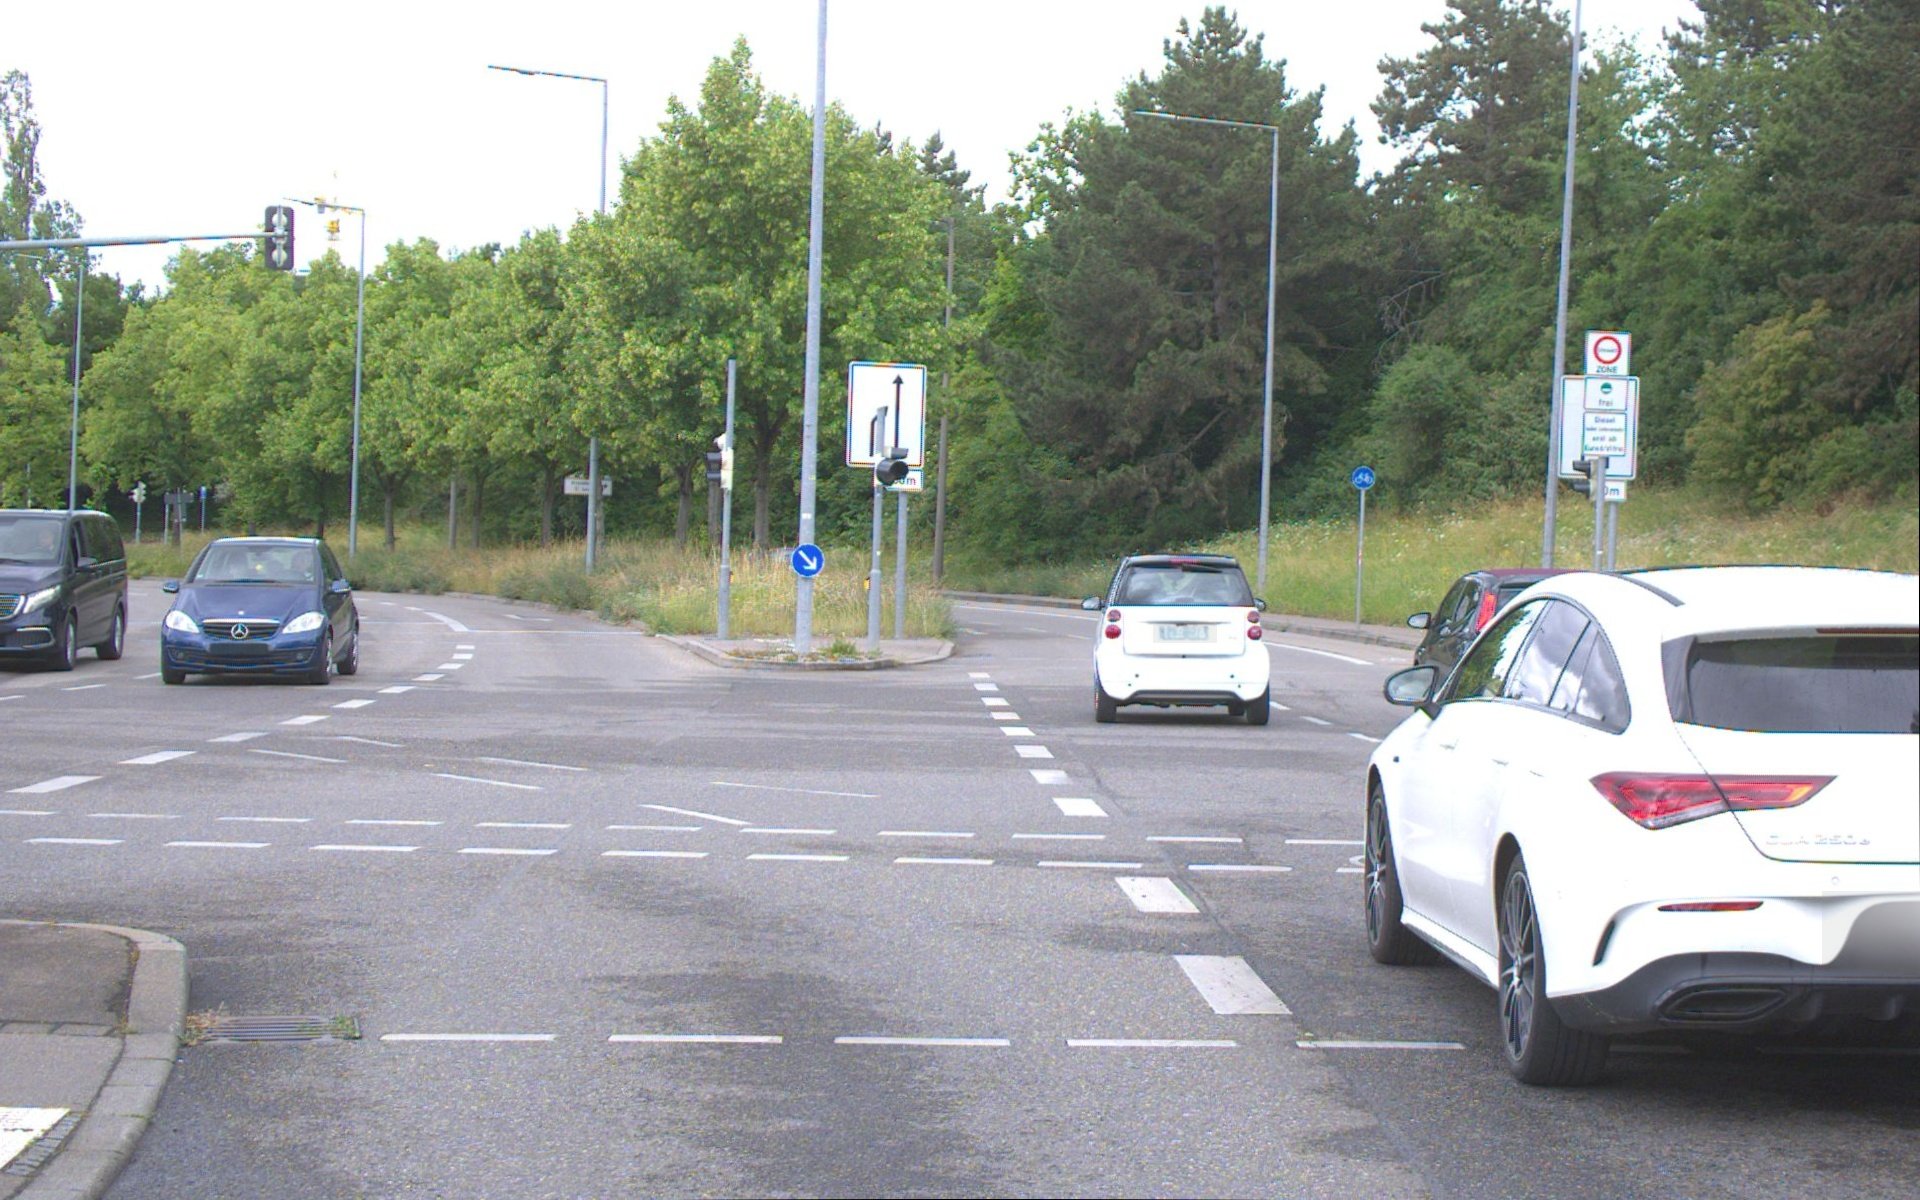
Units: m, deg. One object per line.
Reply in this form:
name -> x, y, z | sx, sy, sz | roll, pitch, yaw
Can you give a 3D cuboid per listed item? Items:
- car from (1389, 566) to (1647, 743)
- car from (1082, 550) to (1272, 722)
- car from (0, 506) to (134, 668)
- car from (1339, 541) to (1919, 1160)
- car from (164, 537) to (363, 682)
car -> 4.878, 0.434, 30.512 | 1.613, 1.448, 3.882 | 1, 0, 0
car -> 1.979, 0.307, 31.981 | 1.592, 1.511, 2.766 | 1, 0, 0
car -> -11.181, -0.189, 40.993 | 1.887, 1.806, 5.093 | 0, 1, -5
car -> 2.390, 0.599, 10.665 | 1.844, 1.501, 4.531 | 1, 0, -1
car -> -7.653, 0.080, 38.046 | 1.735, 1.503, 3.661 | 1, 0, -5
